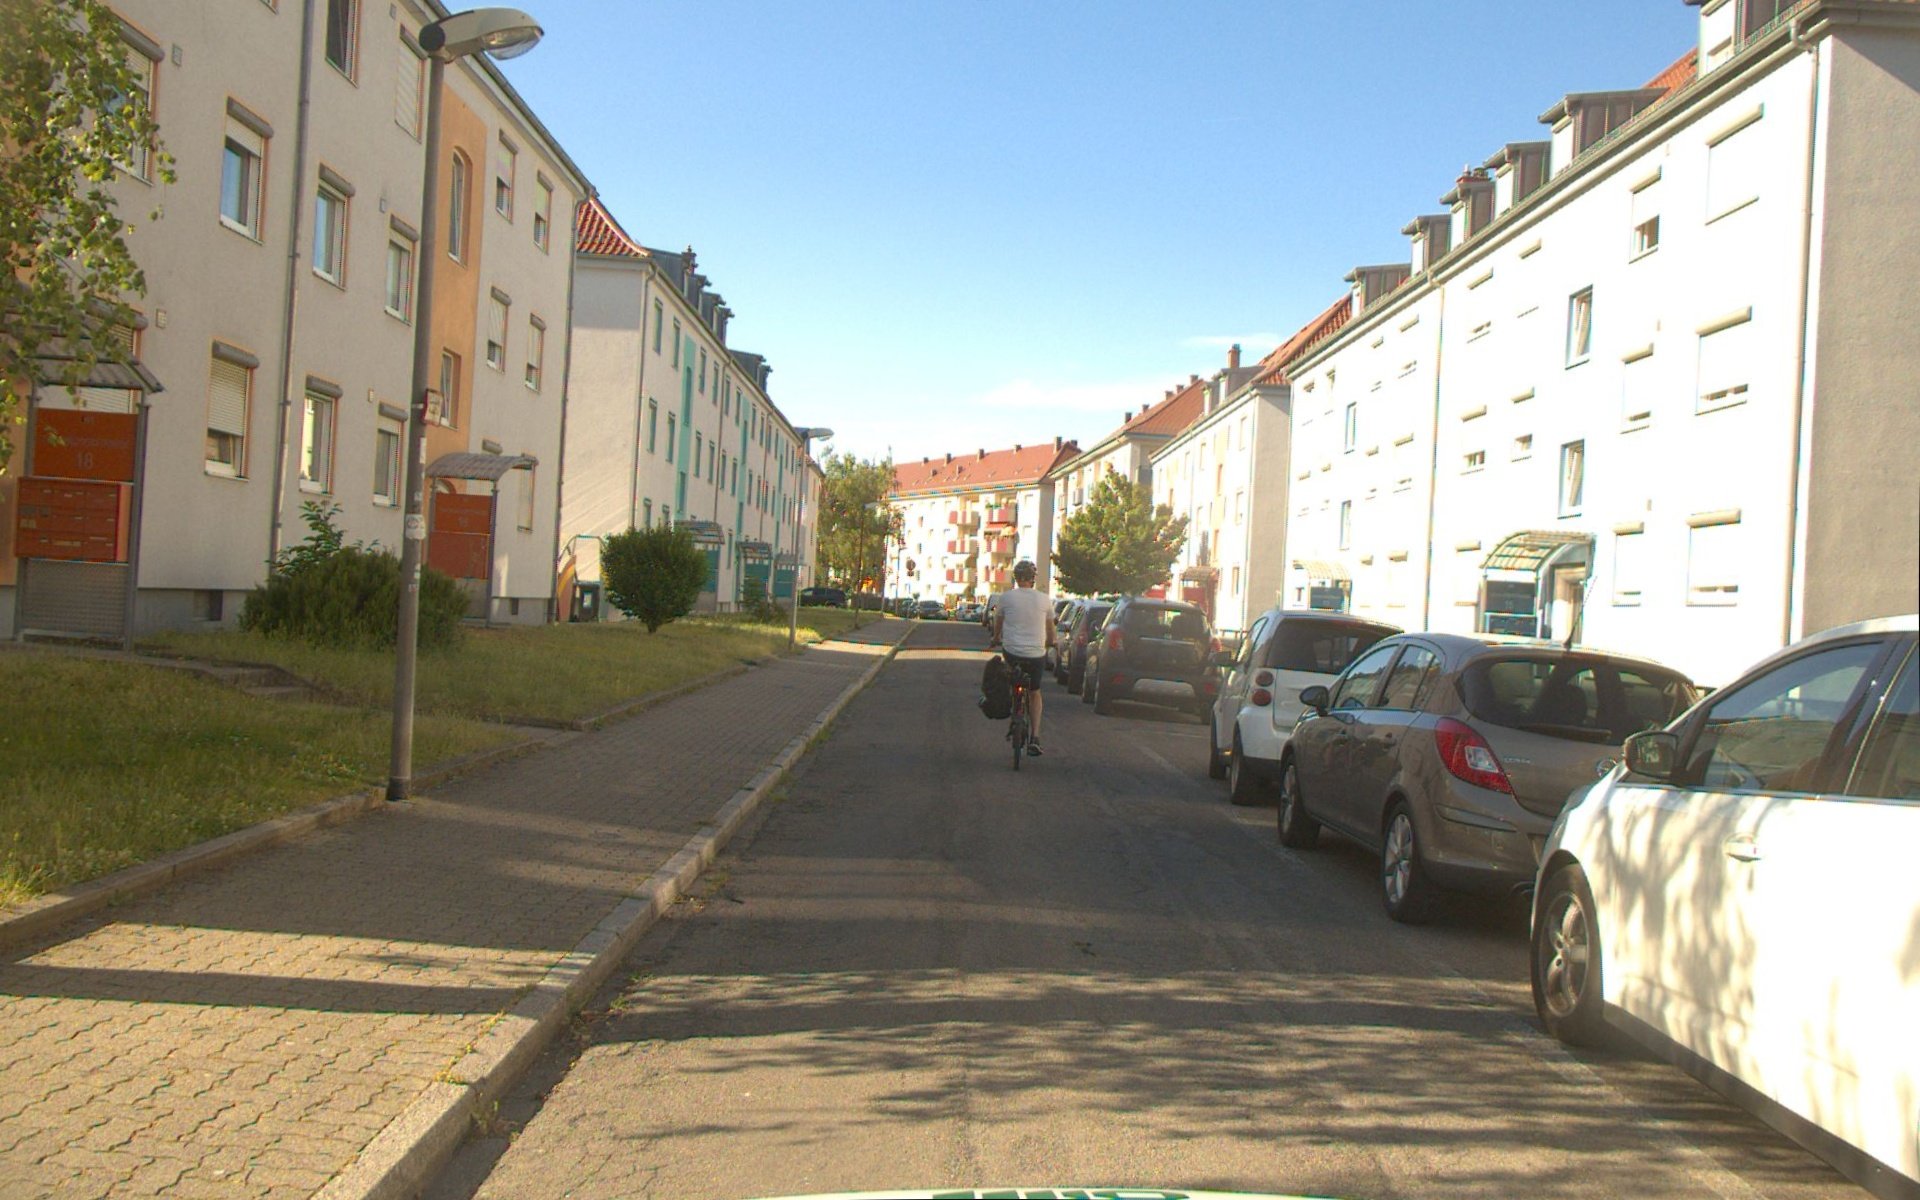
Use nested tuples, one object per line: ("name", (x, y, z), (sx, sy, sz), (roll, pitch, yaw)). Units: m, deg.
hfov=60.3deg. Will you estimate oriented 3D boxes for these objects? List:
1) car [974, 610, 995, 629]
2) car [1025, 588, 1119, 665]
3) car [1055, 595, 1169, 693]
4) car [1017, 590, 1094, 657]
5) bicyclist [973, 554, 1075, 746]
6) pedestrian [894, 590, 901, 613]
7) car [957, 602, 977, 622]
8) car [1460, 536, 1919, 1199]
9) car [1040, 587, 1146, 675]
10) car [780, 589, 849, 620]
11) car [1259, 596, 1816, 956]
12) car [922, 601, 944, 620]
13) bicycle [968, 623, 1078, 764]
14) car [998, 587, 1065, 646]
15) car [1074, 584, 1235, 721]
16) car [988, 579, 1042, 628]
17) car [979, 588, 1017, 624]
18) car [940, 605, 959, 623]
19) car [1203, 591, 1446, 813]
("car", (1.915, 1.512, 130.614), (1.440, 1.358, 3.139), (4, 0, -3))
("car", (2.721, 0.607, 41.060), (1.716, 1.645, 4.450), (6, 0, -3))
("car", (2.629, 0.721, 29.400), (1.608, 1.524, 4.156), (3, 0, 0))
("car", (2.613, 0.623, 46.266), (1.678, 1.623, 4.397), (6, 0, -1))
("bicyclist", (0.571, 0.442, 15.116), (0.792, 1.672, 0.898), (2, 0, -3))
("pedestrian", (-4.427, 0.097, 117.009), (0.425, 1.602, 0.543), (2, 0, -1))
("car", (0.572, 0.990, 137.527), (1.354, 1.522, 3.075), (4, 0, -3))
("car", (3.110, 0.760, 4.538), (1.953, 1.640, 4.996), (5, 0, 1))
("car", (2.747, 0.605, 35.009), (1.656, 1.602, 4.433), (5, 0, -2))
("car", (-8.968, 0.287, 102.087), (4.149, 1.667, 1.581), (3, 0, -5))
("car", (3.042, 0.813, 9.657), (1.660, 1.516, 3.983), (5, 0, -2))
("car", (-1.989, 0.758, 121.027), (1.440, 1.359, 3.137), (0, 0, -5))
("bicycle", (0.546, 0.820, 15.263), (0.792, 1.148, 2.101), (2, 0, -3))
("car", (2.279, 0.521, 53.925), (1.824, 1.697, 4.126), (5, 0, -1))
("car", (2.755, 0.696, 24.305), (1.747, 1.676, 4.468), (5, 0, 0))
("car", (2.128, 0.111, 64.506), (1.667, 1.699, 4.378), (5, 0, -2))
("car", (1.982, 0.308, 88.016), (1.641, 1.769, 3.941), (4, 0, -3))
("car", (-0.960, 1.276, 150.146), (1.440, 1.542, 3.075), (4, 0, -3))
("car", (3.004, 0.783, 14.131), (1.449, 1.555, 2.942), (5, 0, 3))
